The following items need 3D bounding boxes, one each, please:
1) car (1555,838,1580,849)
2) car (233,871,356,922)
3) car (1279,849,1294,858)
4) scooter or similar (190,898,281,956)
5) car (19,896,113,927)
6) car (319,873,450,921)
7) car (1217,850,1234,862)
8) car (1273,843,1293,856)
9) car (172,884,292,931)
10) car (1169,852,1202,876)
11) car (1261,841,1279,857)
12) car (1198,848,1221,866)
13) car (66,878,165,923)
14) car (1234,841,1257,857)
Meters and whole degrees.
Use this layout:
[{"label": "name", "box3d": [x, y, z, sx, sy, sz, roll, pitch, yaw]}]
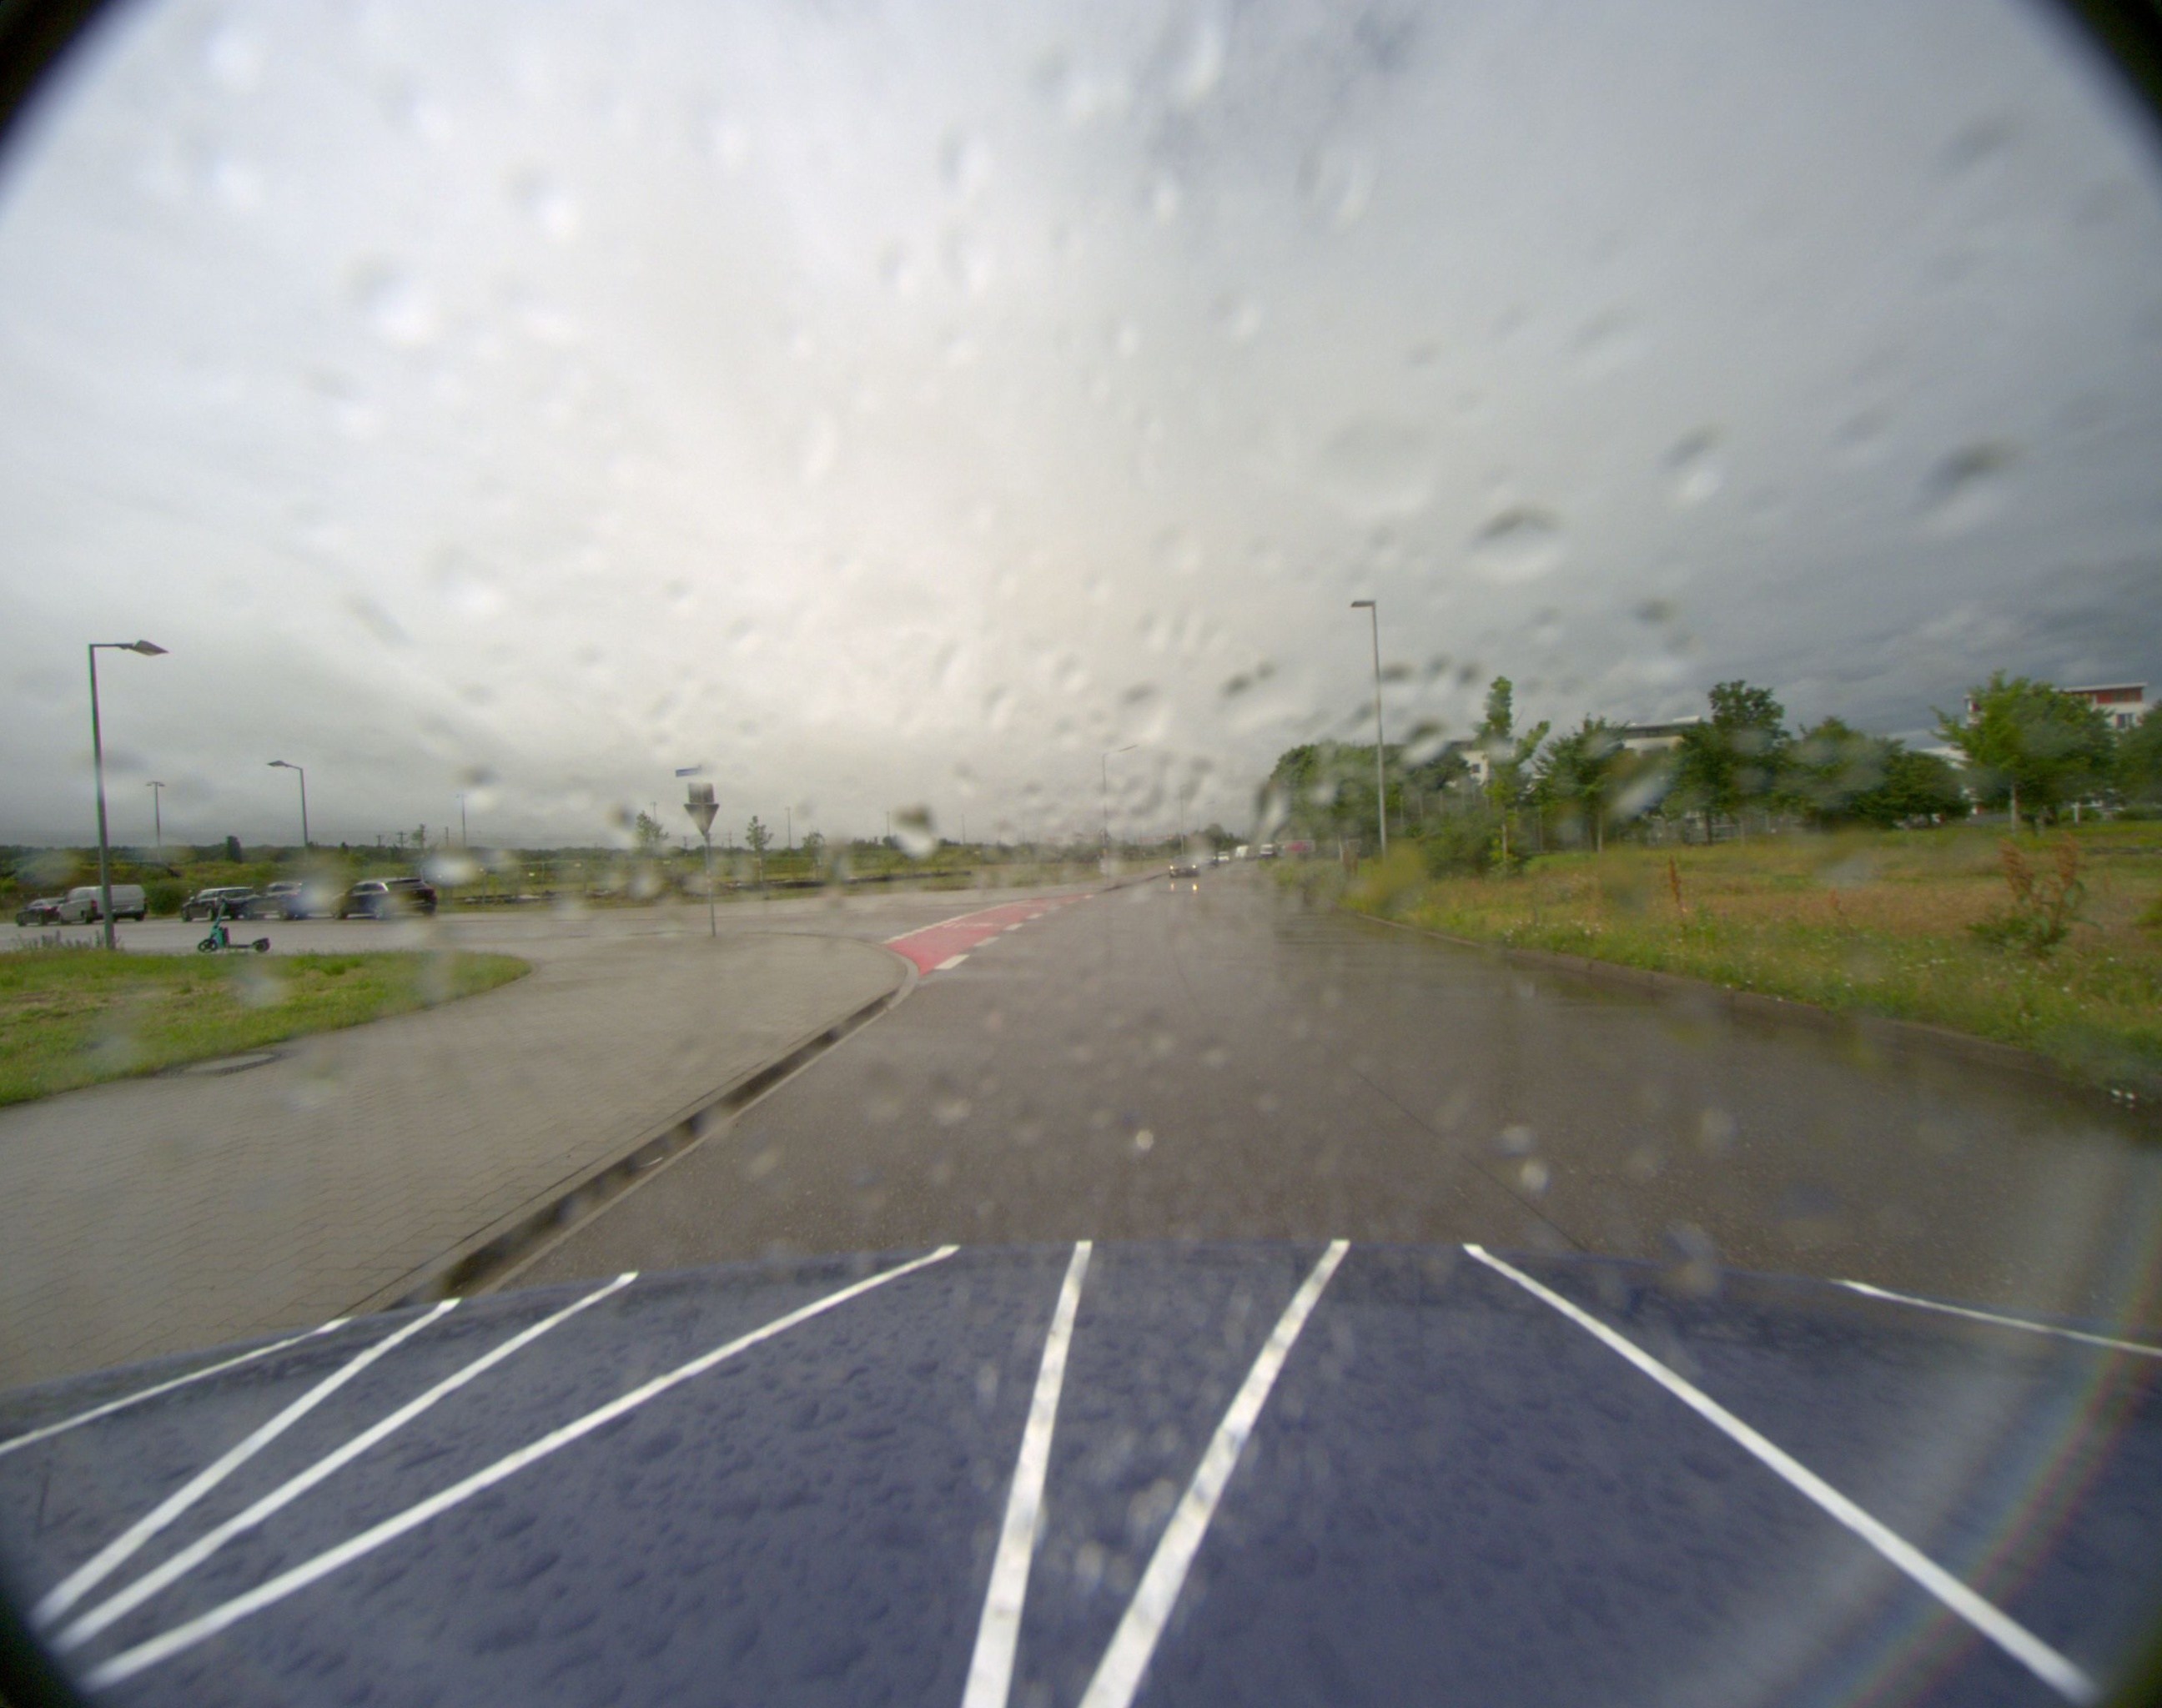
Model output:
[{"label": "car", "box3d": [72.454, -1.579, 113.204, 1.641, 1.388, 4.188, -5, 0, 10]}, {"label": "car", "box3d": [-33.387, 1.801, 32.277, 3.992, 1.717, 2.003, -6, -1, 18]}, {"label": "car", "box3d": [37.195, -0.120, 137.324, 1.838, 1.510, 4.364, -2, 0, 26]}, {"label": "scooter or similar", "box3d": [-18.201, 1.568, 16.376, 1.284, 1.180, 0.503, -1, -1, -8]}, {"label": "car", "box3d": [-54.440, 3.096, 40.767, 3.991, 1.406, 2.003, -3, 0, 22]}, {"label": "car", "box3d": [-27.702, 1.713, 30.254, 3.992, 1.609, 2.002, -2, 3, 18]}, {"label": "car", "box3d": [18.738, 0.236, 98.711, 1.840, 1.510, 4.362, -2, 0, 14]}, {"label": "car", "box3d": [40.504, -0.850, 152.234, 2.070, 2.514, 6.669, -1, 0, 29]}, {"label": "car", "box3d": [-37.494, 2.346, 33.579, 3.992, 1.631, 2.003, -6, -1, 18]}, {"label": "car", "box3d": [7.057, 0.660, 51.044, 1.872, 1.510, 4.361, -1, 1, 11]}, {"label": "car", "box3d": [35.041, -1.024, 140.455, 2.145, 2.867, 5.285, 1, 2, 26]}, {"label": "car", "box3d": [12.898, 0.305, 76.295, 2.008, 1.695, 4.333, -3, 0, 12]}, {"label": "car", "box3d": [-49.555, 2.379, 38.993, 4.329, 1.761, 2.003, -8, -2, 23]}, {"label": "car", "box3d": [27.043, -0.822, 124.811, 2.093, 2.458, 5.957, -1, 1, 28]}]
